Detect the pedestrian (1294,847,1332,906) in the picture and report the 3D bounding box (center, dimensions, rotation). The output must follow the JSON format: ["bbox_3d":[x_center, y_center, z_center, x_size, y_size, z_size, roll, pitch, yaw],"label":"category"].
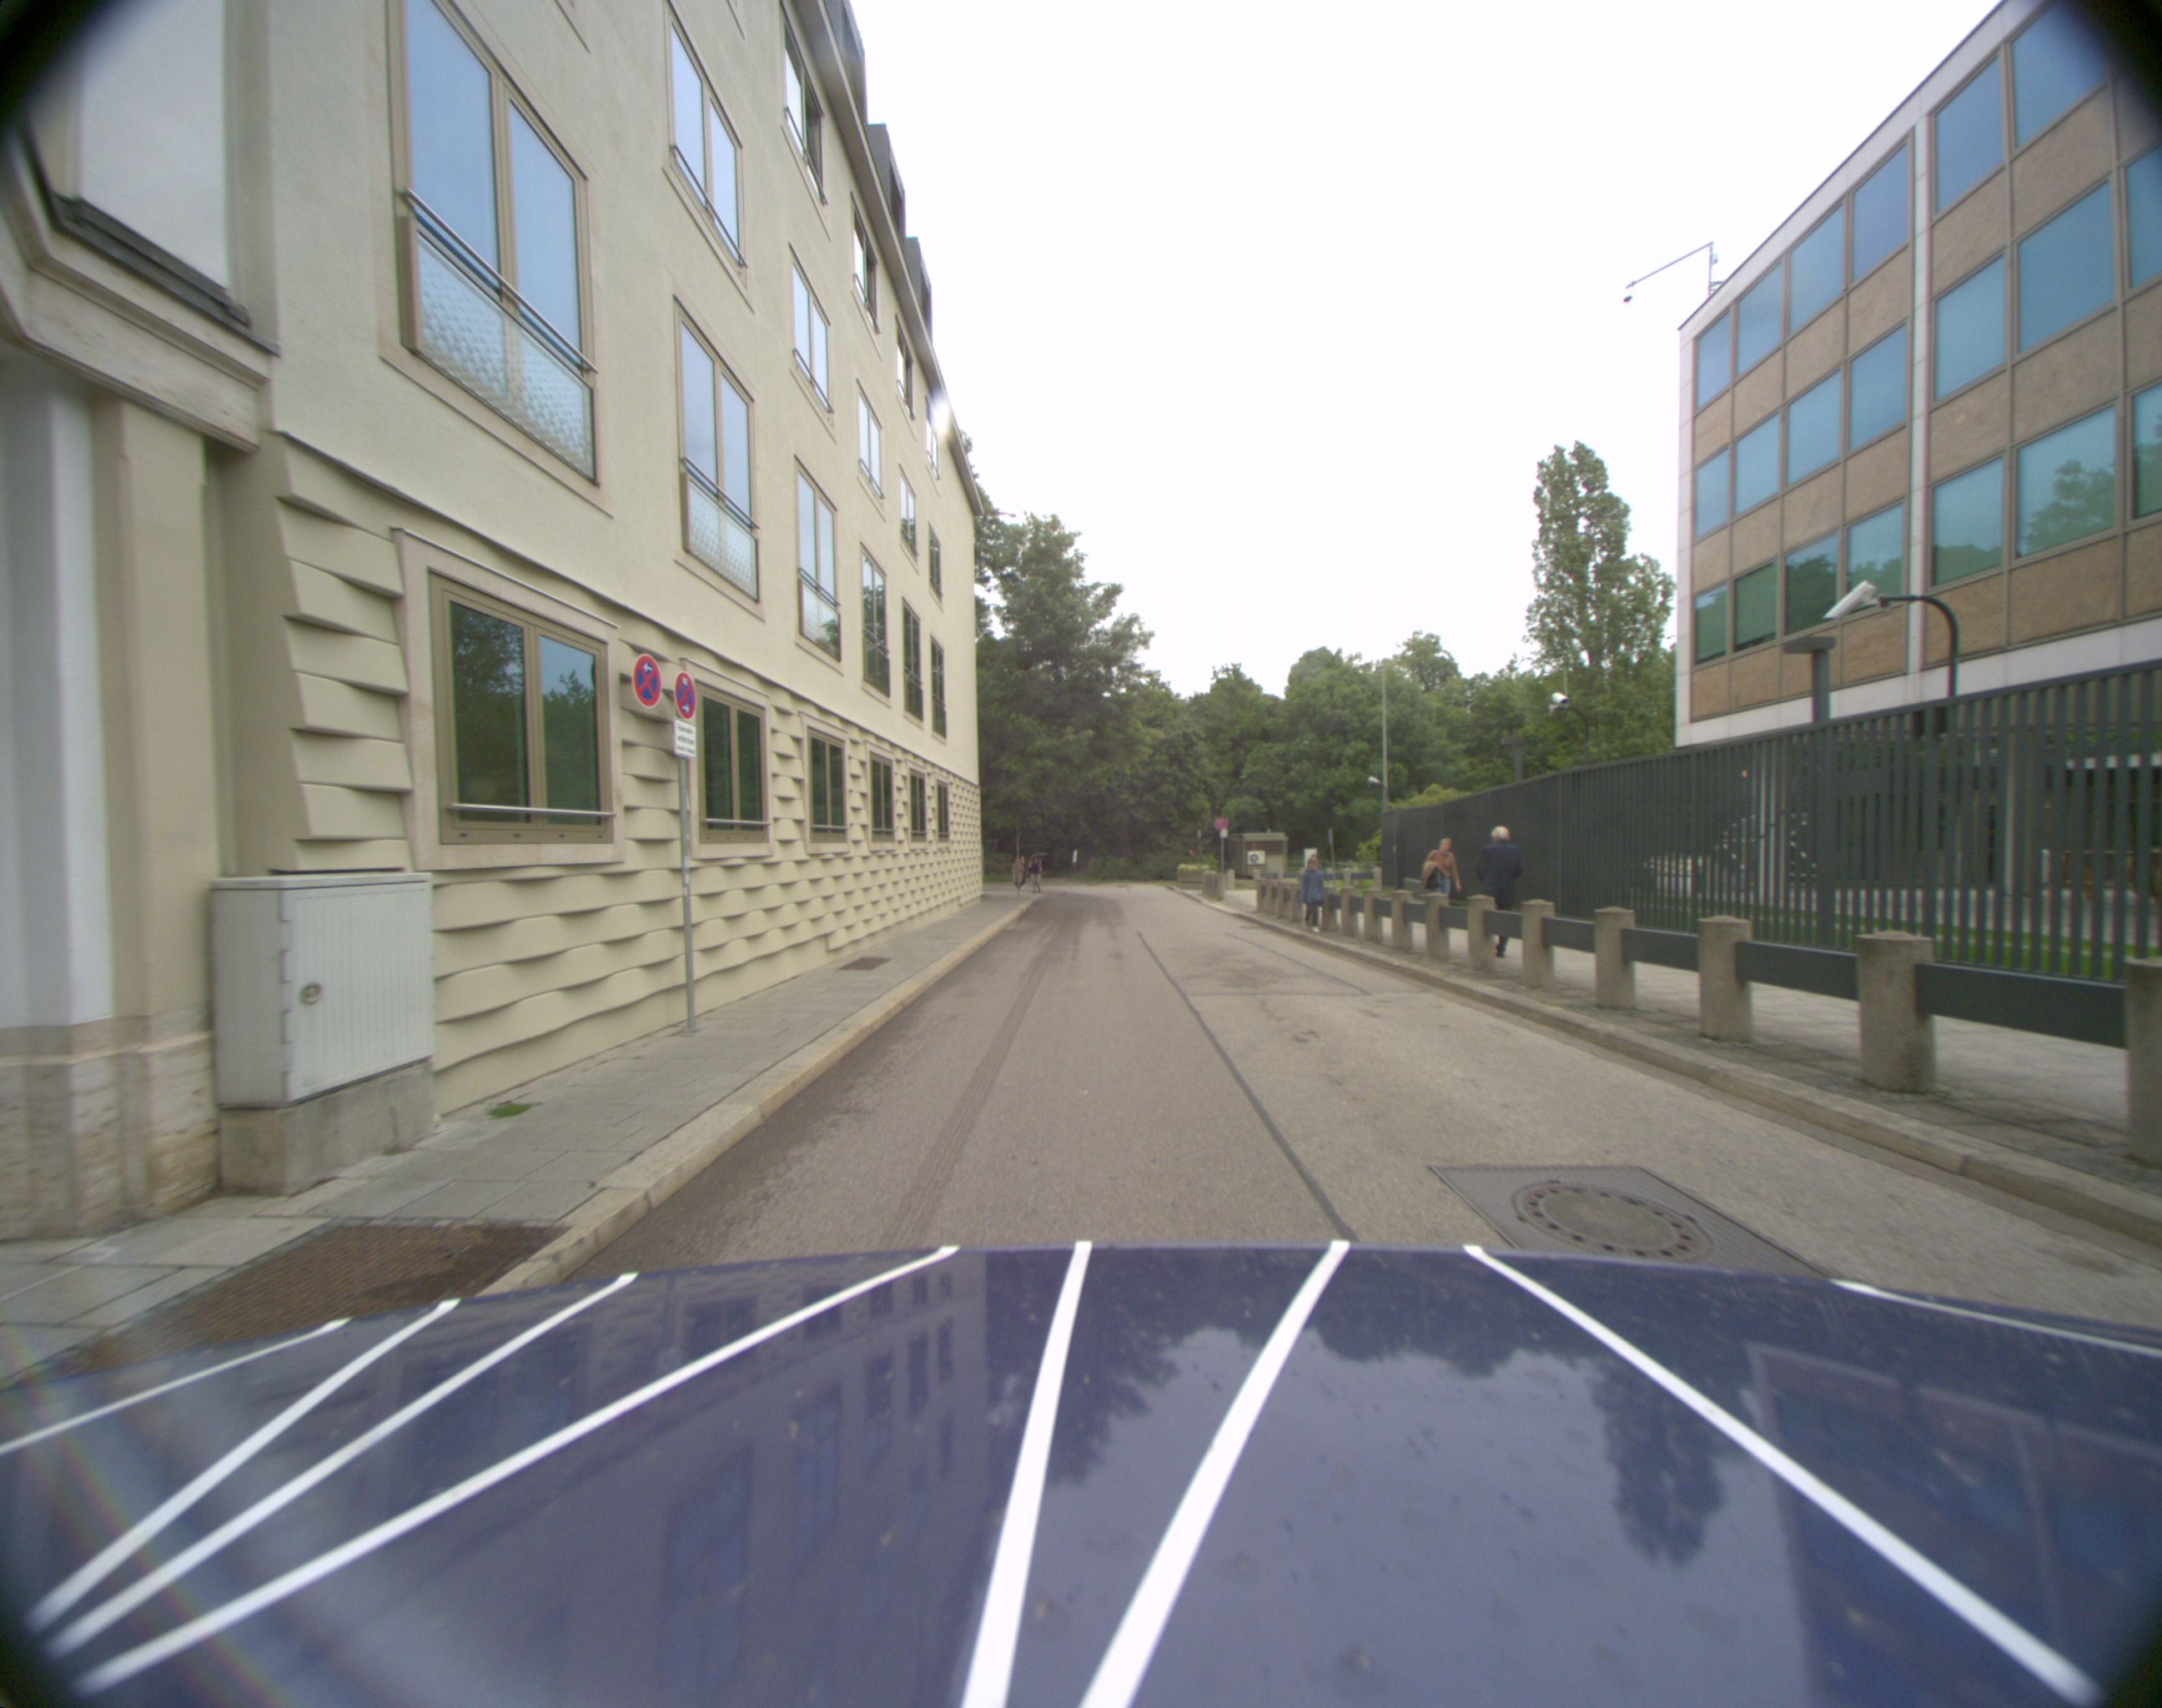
[{"bbox_3d":[6.311,0.601,20.689,0.778,1.531,0.933,-3,1,9],"label":"pedestrian"}]

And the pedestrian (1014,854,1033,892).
[{"bbox_3d":[-2.593,0.866,34.188,0.753,1.671,0.655,-1,1,-1],"label":"pedestrian"}]

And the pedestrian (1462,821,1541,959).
[{"bbox_3d":[5.605,0.464,10.163,0.625,1.758,0.766,-1,1,0],"label":"pedestrian"}]

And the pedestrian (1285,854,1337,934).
[{"bbox_3d":[4.494,0.760,14.900,0.640,1.459,1.079,-3,1,1],"label":"pedestrian"}]

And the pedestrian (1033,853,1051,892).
[{"bbox_3d":[-1.784,0.837,34.762,0.753,1.726,0.853,-1,1,-1],"label":"pedestrian"}]

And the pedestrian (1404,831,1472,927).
[{"bbox_3d":[6.731,0.451,14.366,0.826,1.713,0.906,-3,1,6],"label":"pedestrian"}]
